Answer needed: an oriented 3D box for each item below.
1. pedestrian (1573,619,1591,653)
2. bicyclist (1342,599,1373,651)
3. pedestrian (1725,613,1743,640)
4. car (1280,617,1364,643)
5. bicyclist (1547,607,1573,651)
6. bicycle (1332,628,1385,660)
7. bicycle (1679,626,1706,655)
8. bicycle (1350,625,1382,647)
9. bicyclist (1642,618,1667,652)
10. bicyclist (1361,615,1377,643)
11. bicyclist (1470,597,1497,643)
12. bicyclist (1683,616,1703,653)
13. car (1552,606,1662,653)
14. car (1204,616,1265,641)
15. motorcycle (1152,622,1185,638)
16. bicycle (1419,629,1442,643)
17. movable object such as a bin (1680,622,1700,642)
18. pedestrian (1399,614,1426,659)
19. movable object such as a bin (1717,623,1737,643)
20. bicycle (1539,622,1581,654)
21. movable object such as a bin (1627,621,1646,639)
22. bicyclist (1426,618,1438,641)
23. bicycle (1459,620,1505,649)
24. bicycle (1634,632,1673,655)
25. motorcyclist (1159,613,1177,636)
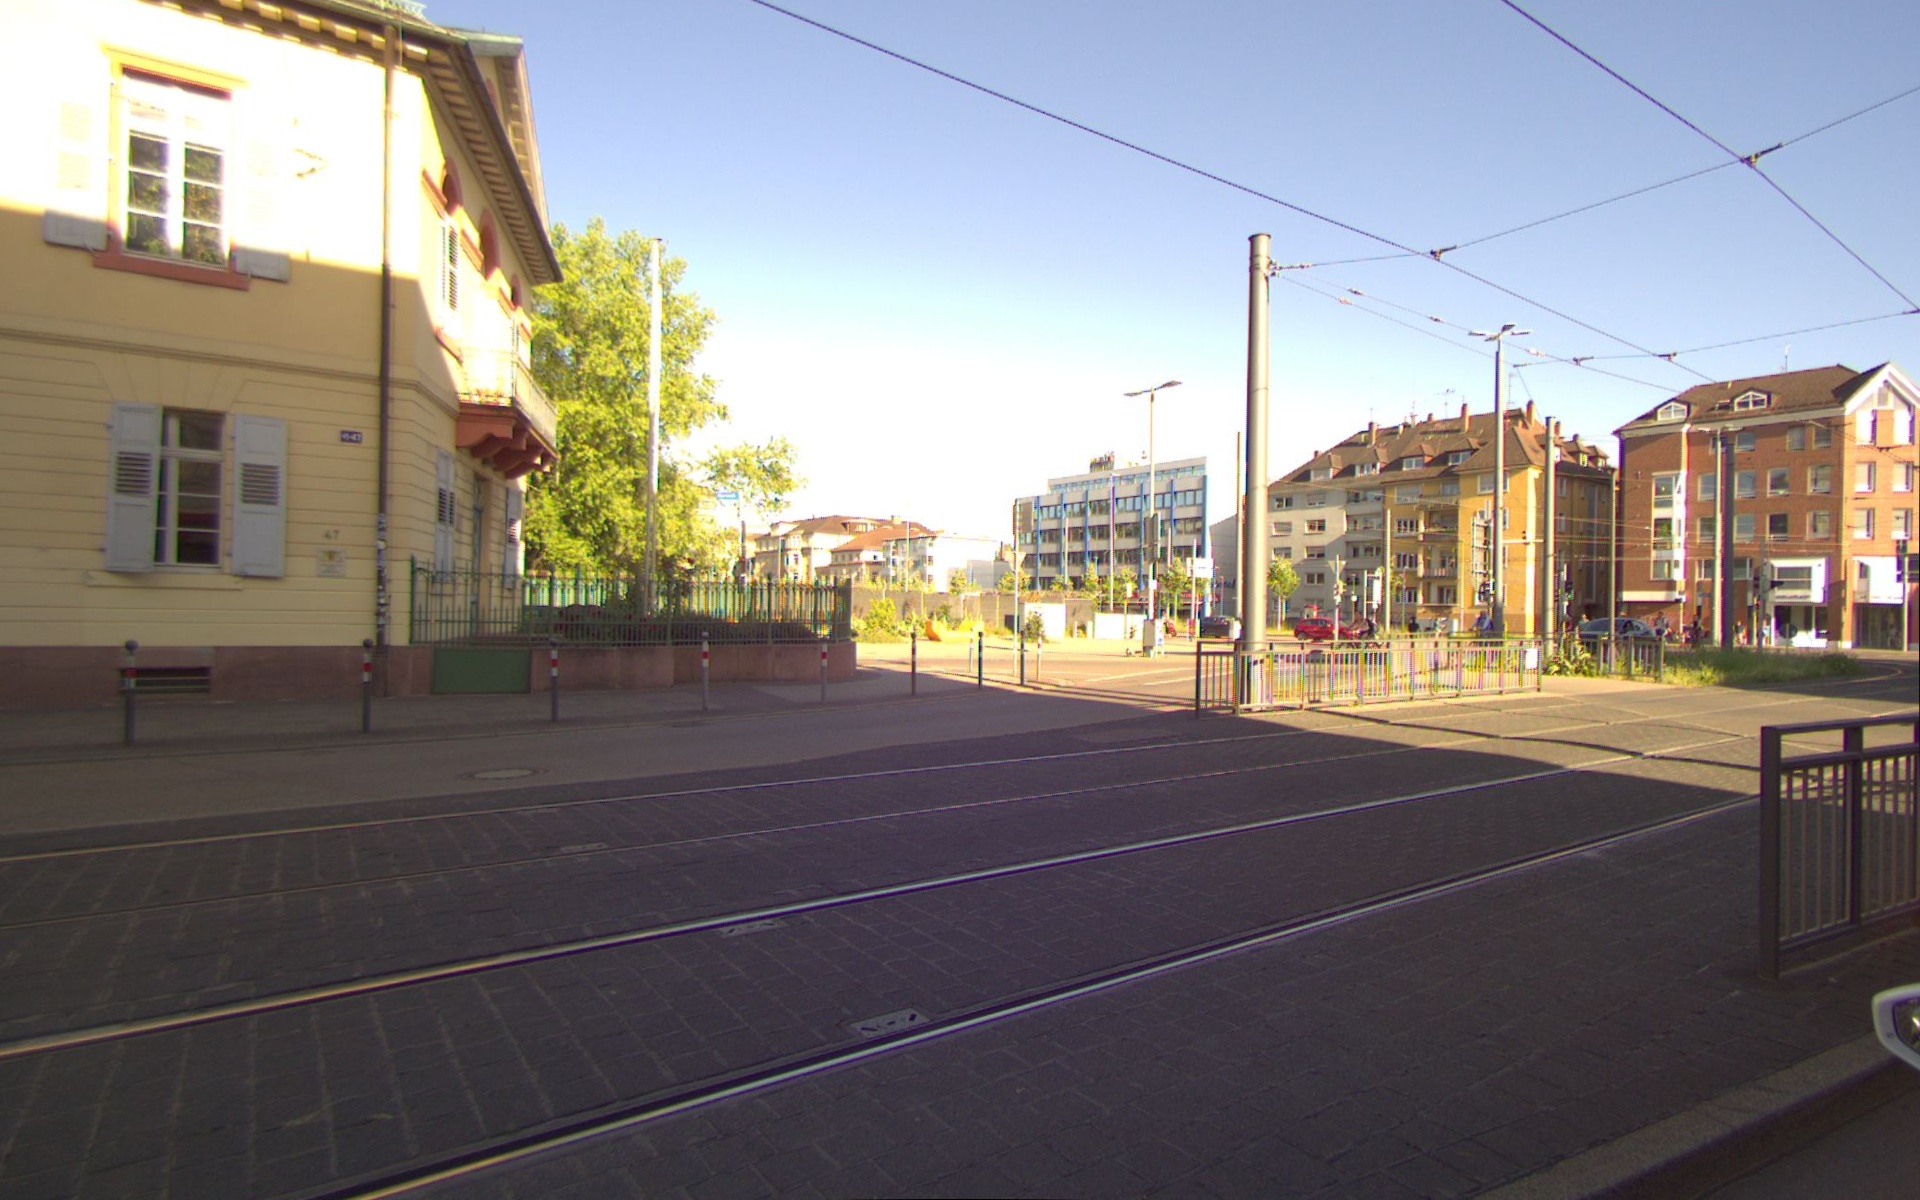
[{"bbox_3d":[32.311,1.864,52.148,0.700,1.711,0.619,-1,2,-42],"label":"pedestrian"},{"bbox_3d":[13.065,0.814,33.003,0.761,1.695,0.522,2,0,-28],"label":"bicyclist"},{"bbox_3d":[51.676,1.755,67.067,0.921,1.733,0.690,2,0,-36],"label":"pedestrian"},{"bbox_3d":[21.644,1.779,60.152,1.768,1.529,4.513,1,-2,-39],"label":"car"},{"bbox_3d":[23.645,1.135,39.587,0.761,1.695,0.518,2,0,-29],"label":"bicyclist"},{"bbox_3d":[13.100,1.457,33.033,1.873,1.027,0.527,2,0,-29],"label":"bicycle"},{"bbox_3d":[34.106,1.895,46.731,2.011,1.308,0.568,2,0,-41],"label":"bicycle"},{"bbox_3d":[22.091,1.938,54.676,0.608,1.148,1.481,2,0,-43],"label":"bicycle"},{"bbox_3d":[31.334,1.573,45.338,0.722,1.473,0.660,2,0,-29],"label":"bicyclist"},{"bbox_3d":[22.214,1.563,54.548,0.605,1.513,0.608,2,0,-44],"label":"bicyclist"},{"bbox_3d":[19.529,0.734,37.471,0.761,1.695,0.518,2,0,-29],"label":"bicyclist"},{"bbox_3d":[33.957,1.586,46.544,0.800,1.671,0.583,2,0,-42],"label":"bicyclist"},{"bbox_3d":[23.312,1.067,36.173,4.074,1.581,1.676,2,0,-30],"label":"car"},{"bbox_3d":[17.839,1.821,65.427,1.560,1.491,3.673,2,0,-36],"label":"car"},{"bbox_3d":[14.450,2.076,69.721,0.784,0.997,2.342,2,0,-36],"label":"motorcycle"},{"bbox_3d":[27.236,2.103,58.179,1.160,0.774,0.318,2,0,45],"label":"bicycle"},{"bbox_3d":[56.703,2.477,77.973,1.087,1.456,0.988,2,0,-39],"label":"movable object such as a bin"},{"bbox_3d":[20.124,1.626,44.673,0.787,1.959,0.721,2,0,-23],"label":"pedestrian"},{"bbox_3d":[58.092,2.515,76.066,1.087,1.456,0.988,2,0,-39],"label":"movable object such as a bin"},{"bbox_3d":[23.657,1.500,39.592,1.862,1.230,0.527,2,0,-29],"label":"bicycle"},{"bbox_3d":[54.510,2.428,80.978,1.087,1.456,0.988,2,0,-39],"label":"movable object such as a bin"},{"bbox_3d":[27.325,1.721,58.148,0.453,1.333,0.397,2,0,44],"label":"bicyclist"},{"bbox_3d":[19.465,1.287,37.452,1.862,1.027,0.527,2,0,-29],"label":"bicycle"},{"bbox_3d":[31.290,1.966,45.320,1.862,1.027,0.647,2,0,-29],"label":"bicycle"},{"bbox_3d":[14.445,1.720,69.730,0.775,1.544,0.914,2,0,-36],"label":"motorcyclist"}]
